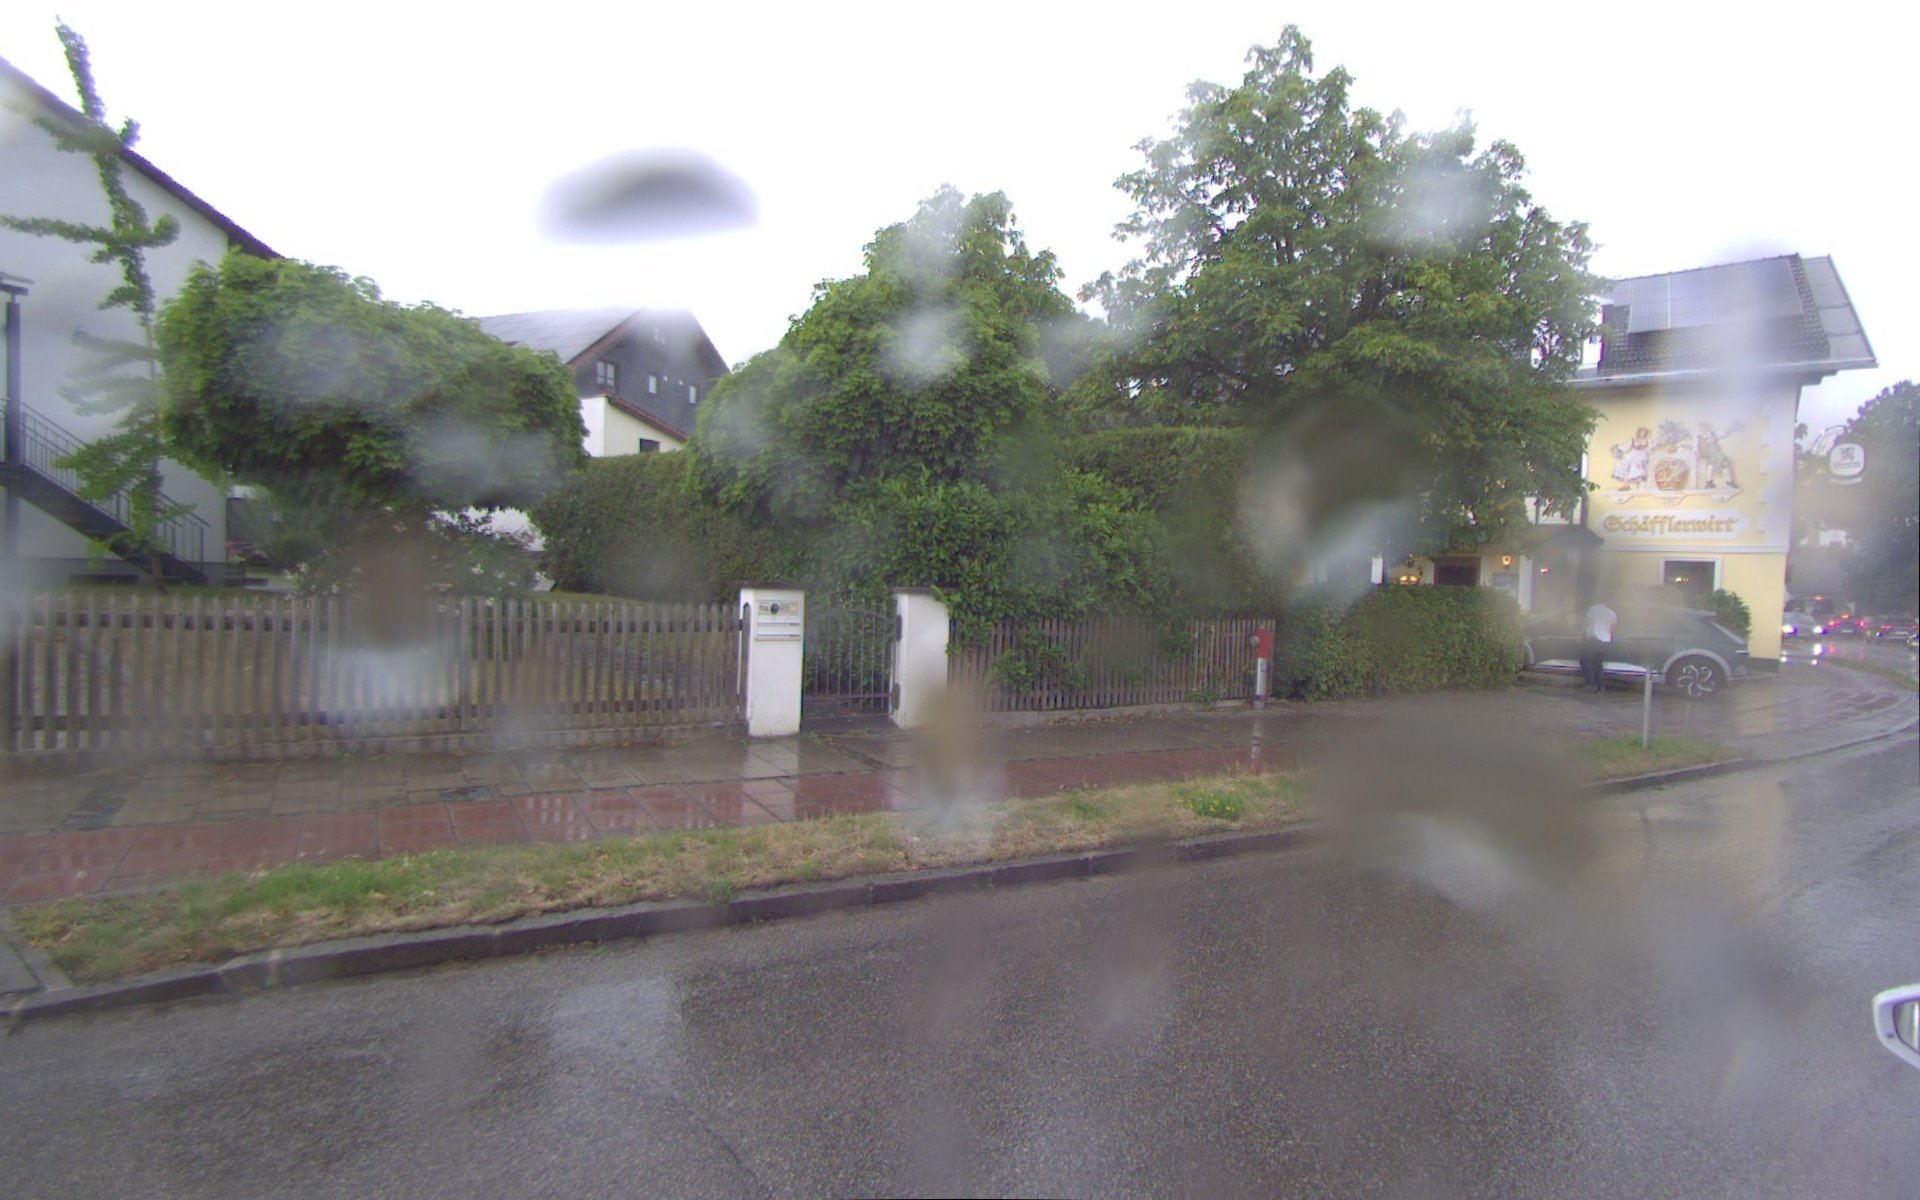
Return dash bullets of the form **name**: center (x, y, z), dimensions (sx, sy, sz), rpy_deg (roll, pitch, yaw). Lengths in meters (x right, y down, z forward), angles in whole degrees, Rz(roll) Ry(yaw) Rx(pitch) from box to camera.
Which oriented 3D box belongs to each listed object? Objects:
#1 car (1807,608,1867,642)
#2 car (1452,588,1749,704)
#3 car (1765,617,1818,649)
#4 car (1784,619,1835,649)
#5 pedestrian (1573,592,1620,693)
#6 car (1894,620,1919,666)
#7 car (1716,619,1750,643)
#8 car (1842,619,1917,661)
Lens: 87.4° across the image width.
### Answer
- **car**: center (55.649, 1.562, 63.811), dimensions (2.139, 1.925, 4.999), rpy_deg (3, 2, 33)
- **car**: center (11.868, 0.763, 18.927), dimensions (4.413, 1.589, 1.834), rpy_deg (6, 5, 32)
- **car**: center (48.179, 1.867, 58.277), dimensions (1.896, 1.767, 4.181), rpy_deg (0, -1, 33)
- **car**: center (62.095, 2.455, 73.492), dimensions (2.139, 1.925, 4.999), rpy_deg (3, 2, 33)
- **pedestrian**: center (11.243, 0.732, 17.764), dimensions (0.544, 1.712, 0.491), rpy_deg (5, 4, 29)
- **car**: center (44.553, 1.997, 45.675), dimensions (2.139, 1.925, 4.999), rpy_deg (3, 2, 33)
- **car**: center (58.989, 2.359, 76.688), dimensions (1.728, 1.700, 3.990), rpy_deg (0, -1, 32)
- **car**: center (49.429, 2.085, 54.123), dimensions (2.139, 1.925, 4.999), rpy_deg (3, 2, 33)
